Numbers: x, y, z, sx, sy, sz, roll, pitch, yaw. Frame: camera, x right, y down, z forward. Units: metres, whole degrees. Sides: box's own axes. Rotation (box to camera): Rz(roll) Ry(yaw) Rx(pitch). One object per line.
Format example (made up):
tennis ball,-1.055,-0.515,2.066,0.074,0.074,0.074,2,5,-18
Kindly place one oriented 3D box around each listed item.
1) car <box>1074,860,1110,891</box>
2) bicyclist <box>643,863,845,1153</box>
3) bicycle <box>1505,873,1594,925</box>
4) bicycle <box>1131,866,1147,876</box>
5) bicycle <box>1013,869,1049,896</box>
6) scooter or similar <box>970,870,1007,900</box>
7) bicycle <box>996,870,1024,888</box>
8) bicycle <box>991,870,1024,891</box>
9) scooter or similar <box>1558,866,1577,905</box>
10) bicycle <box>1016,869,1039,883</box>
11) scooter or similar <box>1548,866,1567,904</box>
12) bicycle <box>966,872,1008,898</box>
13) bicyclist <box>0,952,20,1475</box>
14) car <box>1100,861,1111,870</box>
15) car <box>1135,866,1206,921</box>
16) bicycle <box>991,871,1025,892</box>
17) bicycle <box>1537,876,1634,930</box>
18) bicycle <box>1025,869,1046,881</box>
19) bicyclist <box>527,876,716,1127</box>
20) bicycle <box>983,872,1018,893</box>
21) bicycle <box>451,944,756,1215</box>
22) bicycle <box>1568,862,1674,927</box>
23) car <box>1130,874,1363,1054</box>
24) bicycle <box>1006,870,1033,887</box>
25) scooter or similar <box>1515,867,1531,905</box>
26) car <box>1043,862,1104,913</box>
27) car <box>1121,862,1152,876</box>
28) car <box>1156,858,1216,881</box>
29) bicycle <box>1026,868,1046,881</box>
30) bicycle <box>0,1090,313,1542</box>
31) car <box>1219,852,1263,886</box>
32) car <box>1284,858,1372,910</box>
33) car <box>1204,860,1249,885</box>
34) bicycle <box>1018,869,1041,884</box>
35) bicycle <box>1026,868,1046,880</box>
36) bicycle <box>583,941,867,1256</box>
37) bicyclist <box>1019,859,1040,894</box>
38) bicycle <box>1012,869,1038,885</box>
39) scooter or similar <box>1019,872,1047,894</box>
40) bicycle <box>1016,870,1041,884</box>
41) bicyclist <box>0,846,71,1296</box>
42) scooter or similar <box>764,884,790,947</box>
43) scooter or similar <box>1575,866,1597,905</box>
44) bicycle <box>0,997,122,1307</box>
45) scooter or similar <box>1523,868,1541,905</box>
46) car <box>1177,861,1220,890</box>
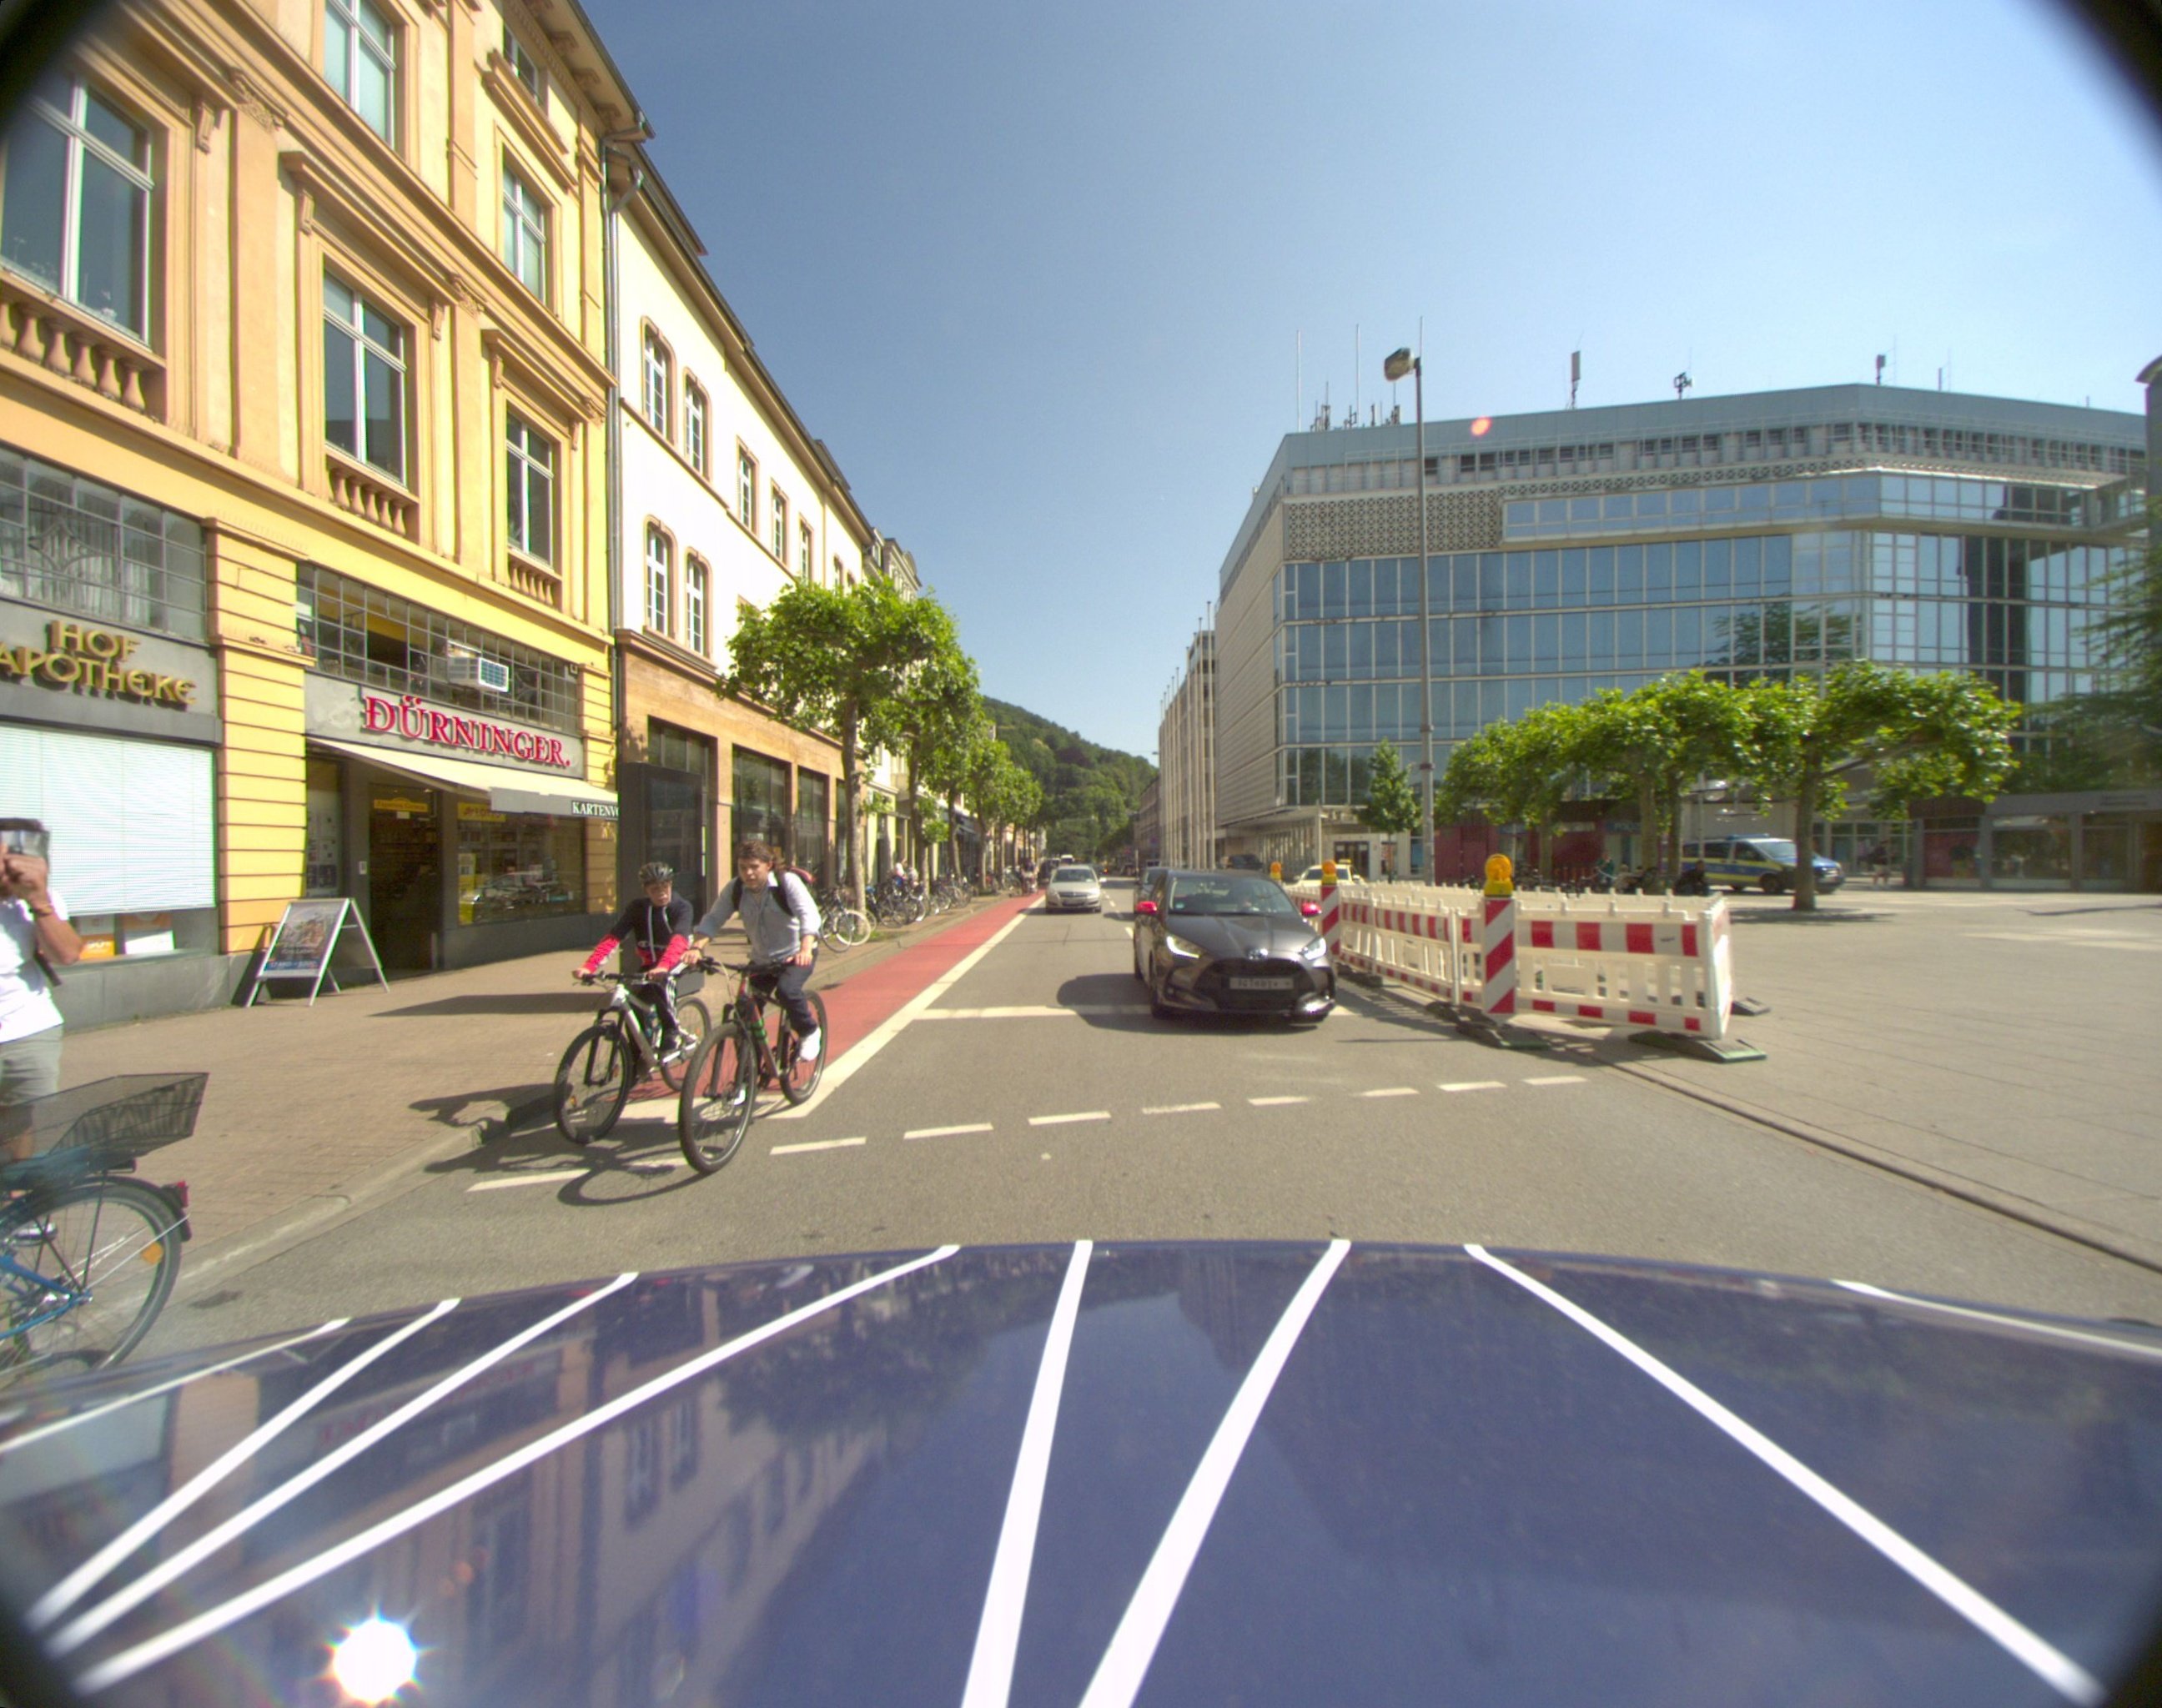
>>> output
car,0.535,1.088,39.661,1.775,1.469,4.106,-1,0,0
bicyclist,-1.852,0.781,4.322,0.700,1.437,0.960,-2,0,-3
bicycle,11.523,1.103,18.704,1.786,1.208,0.663,-1,0,-2
bicycle,7.188,2.150,94.318,0.606,1.166,2.059,-2,1,-45
bicycle,-2.431,1.364,37.072,0.732,1.261,2.286,-2,-2,25
scooter or similar,-4.206,1.401,34.425,1.477,1.267,0.670,-2,0,11
bicycle,-4.847,1.701,51.810,1.783,1.190,0.576,-1,0,-27
bicycle,-4.414,1.575,45.445,1.843,1.190,0.674,-1,0,8
scooter or similar,15.883,1.019,24.830,0.233,1.207,1.305,-1,0,20
bicycle,-4.512,1.830,63.821,1.844,1.120,0.448,0,1,3
scooter or similar,15.656,1.000,24.958,0.233,1.207,1.305,-1,0,20
bicycle,-4.528,1.490,36.615,1.844,1.179,0.670,-2,0,5
bicyclist,-3.100,0.934,1.629,0.601,1.350,0.721,-1,1,0
car,4.093,1.961,129.437,1.734,1.388,4.107,-1,-1,0
car,2.485,1.075,21.922,1.733,1.389,4.107,0,0,3
bicycle,-4.256,1.604,44.377,1.843,1.120,0.498,-2,0,11
bicycle,11.546,1.111,17.408,1.786,1.178,0.663,-1,0,-2
bicycle,-4.117,1.899,68.911,1.844,1.120,0.666,0,1,2
bicyclist,-2.885,0.875,4.857,0.700,1.432,0.790,-2,0,-3
bicycle,-4.525,1.604,42.724,1.844,1.090,0.794,-1,0,6
bicycle,-2.874,1.269,4.909,0.700,1.120,2.081,-2,0,-3
bicycle,11.835,0.873,16.680,1.786,1.340,0.741,-2,0,-2
car,1.567,1.011,8.656,1.868,1.469,4.108,2,-1,2
bicycle,-4.352,1.726,53.470,1.846,1.120,0.497,-3,-1,-7
scooter or similar,14.802,1.051,25.448,0.233,1.207,1.305,-1,0,20
car,-0.304,1.016,24.612,1.791,1.483,4.367,0,-1,-2
car,7.881,2.113,107.607,4.165,1.627,2.104,-4,0,9
car,8.633,1.298,62.742,4.434,1.898,2.014,-2,-1,37
bicycle,-4.209,1.904,70.771,1.844,1.120,0.643,0,1,2
bicycle,-3.101,1.322,1.718,0.601,0.920,2.087,-1,0,0
car,9.998,0.916,47.756,1.836,2.001,4.686,-1,-1,1
car,8.204,0.925,24.957,1.892,1.532,4.871,-2,-1,28
car,10.170,1.249,53.378,1.999,1.601,4.399,-2,0,-4
bicycle,-4.166,1.802,61.492,1.849,1.120,0.592,-1,1,-35
bicycle,-4.337,1.904,73.191,1.844,1.120,0.666,0,1,2
bicycle,-1.844,1.184,4.355,0.700,1.120,2.081,-2,0,-3
bicyclist,-2.482,1.088,36.956,0.731,1.663,0.776,1,0,25
bicycle,-4.278,1.768,57.925,1.846,1.120,0.632,-3,1,-10
scooter or similar,-2.417,1.469,38.376,0.784,1.054,1.128,-2,0,41
bicycle,-4.152,1.831,60.137,1.844,1.087,0.564,-2,0,0
bicyclist,-4.501,0.856,2.848,0.576,1.786,0.855,2,0,-34
scooter or similar,-6.048,1.197,15.134,0.422,1.171,1.230,-1,0,-20
scooter or similar,16.314,1.016,24.559,0.264,1.207,1.305,-1,0,20
bicycle,-4.505,1.241,2.837,0.603,1.076,1.834,2,-1,-34
scooter or similar,15.011,1.067,25.297,0.233,1.207,1.305,-1,0,20
car,6.957,1.237,45.454,1.765,1.590,4.710,-1,-1,0
